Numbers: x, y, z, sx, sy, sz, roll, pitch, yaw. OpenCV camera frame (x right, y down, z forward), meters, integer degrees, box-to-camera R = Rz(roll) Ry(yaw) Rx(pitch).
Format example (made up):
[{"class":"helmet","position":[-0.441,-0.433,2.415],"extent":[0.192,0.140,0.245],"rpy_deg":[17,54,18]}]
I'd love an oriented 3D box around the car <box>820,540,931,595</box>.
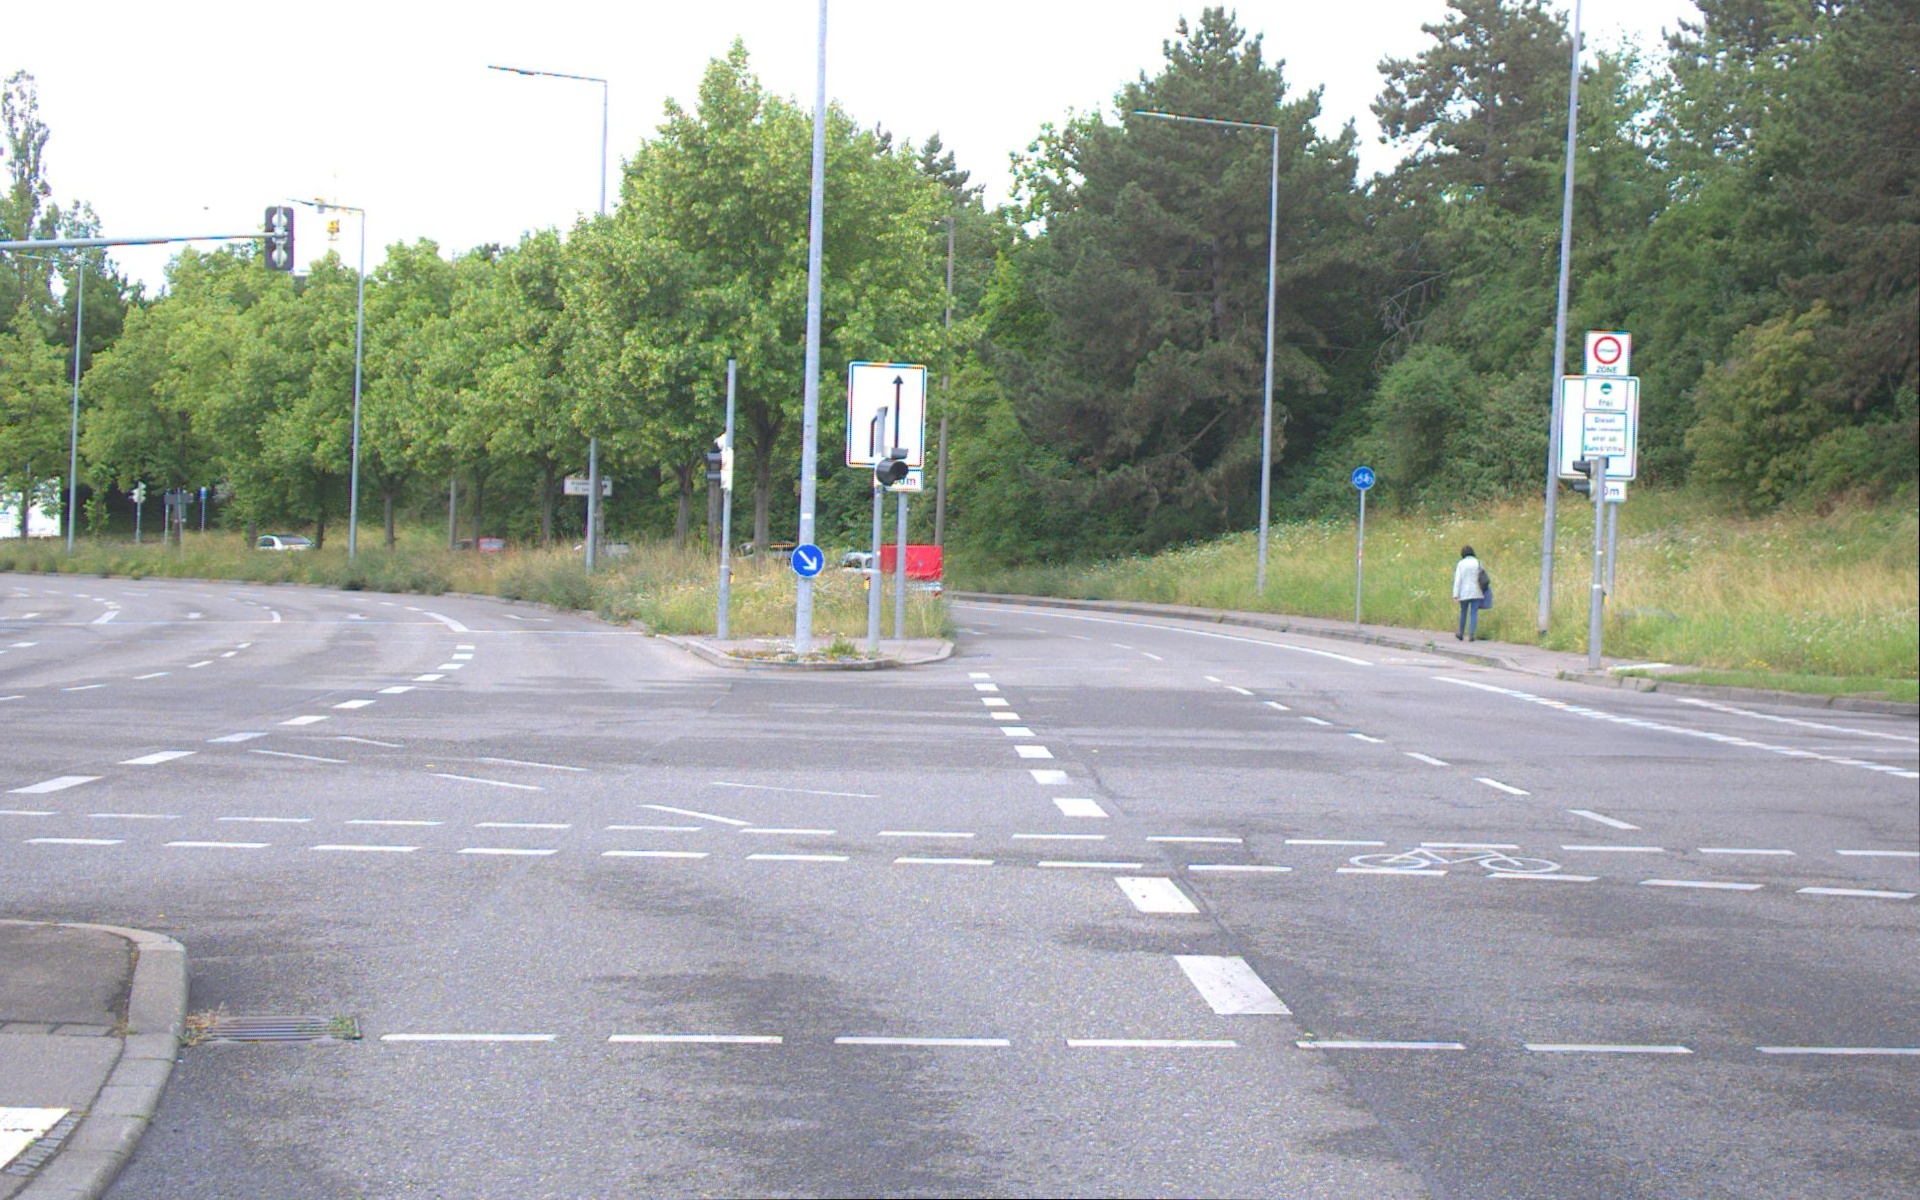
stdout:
[{"class":"car","position":[-2.313,-0.894,93.081],"extent":[1.777,1.416,4.460],"rpy_deg":[0,1,-18]}]

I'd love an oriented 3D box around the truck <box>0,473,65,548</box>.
[{"class":"truck","position":[-44.999,-4.083,155.745],"extent":[11.397,3.317,2.742],"rpy_deg":[2,2,42]}]

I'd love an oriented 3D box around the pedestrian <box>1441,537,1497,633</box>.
[{"class":"pedestrian","position":[8.743,-0.260,59.092],"extent":[0.814,1.622,0.791],"rpy_deg":[1,1,-1]}]

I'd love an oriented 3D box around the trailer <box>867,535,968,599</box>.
[{"class":"trailer","position":[-1.131,-0.868,89.530],"extent":[1.764,1.610,3.045],"rpy_deg":[0,1,-18]}]
